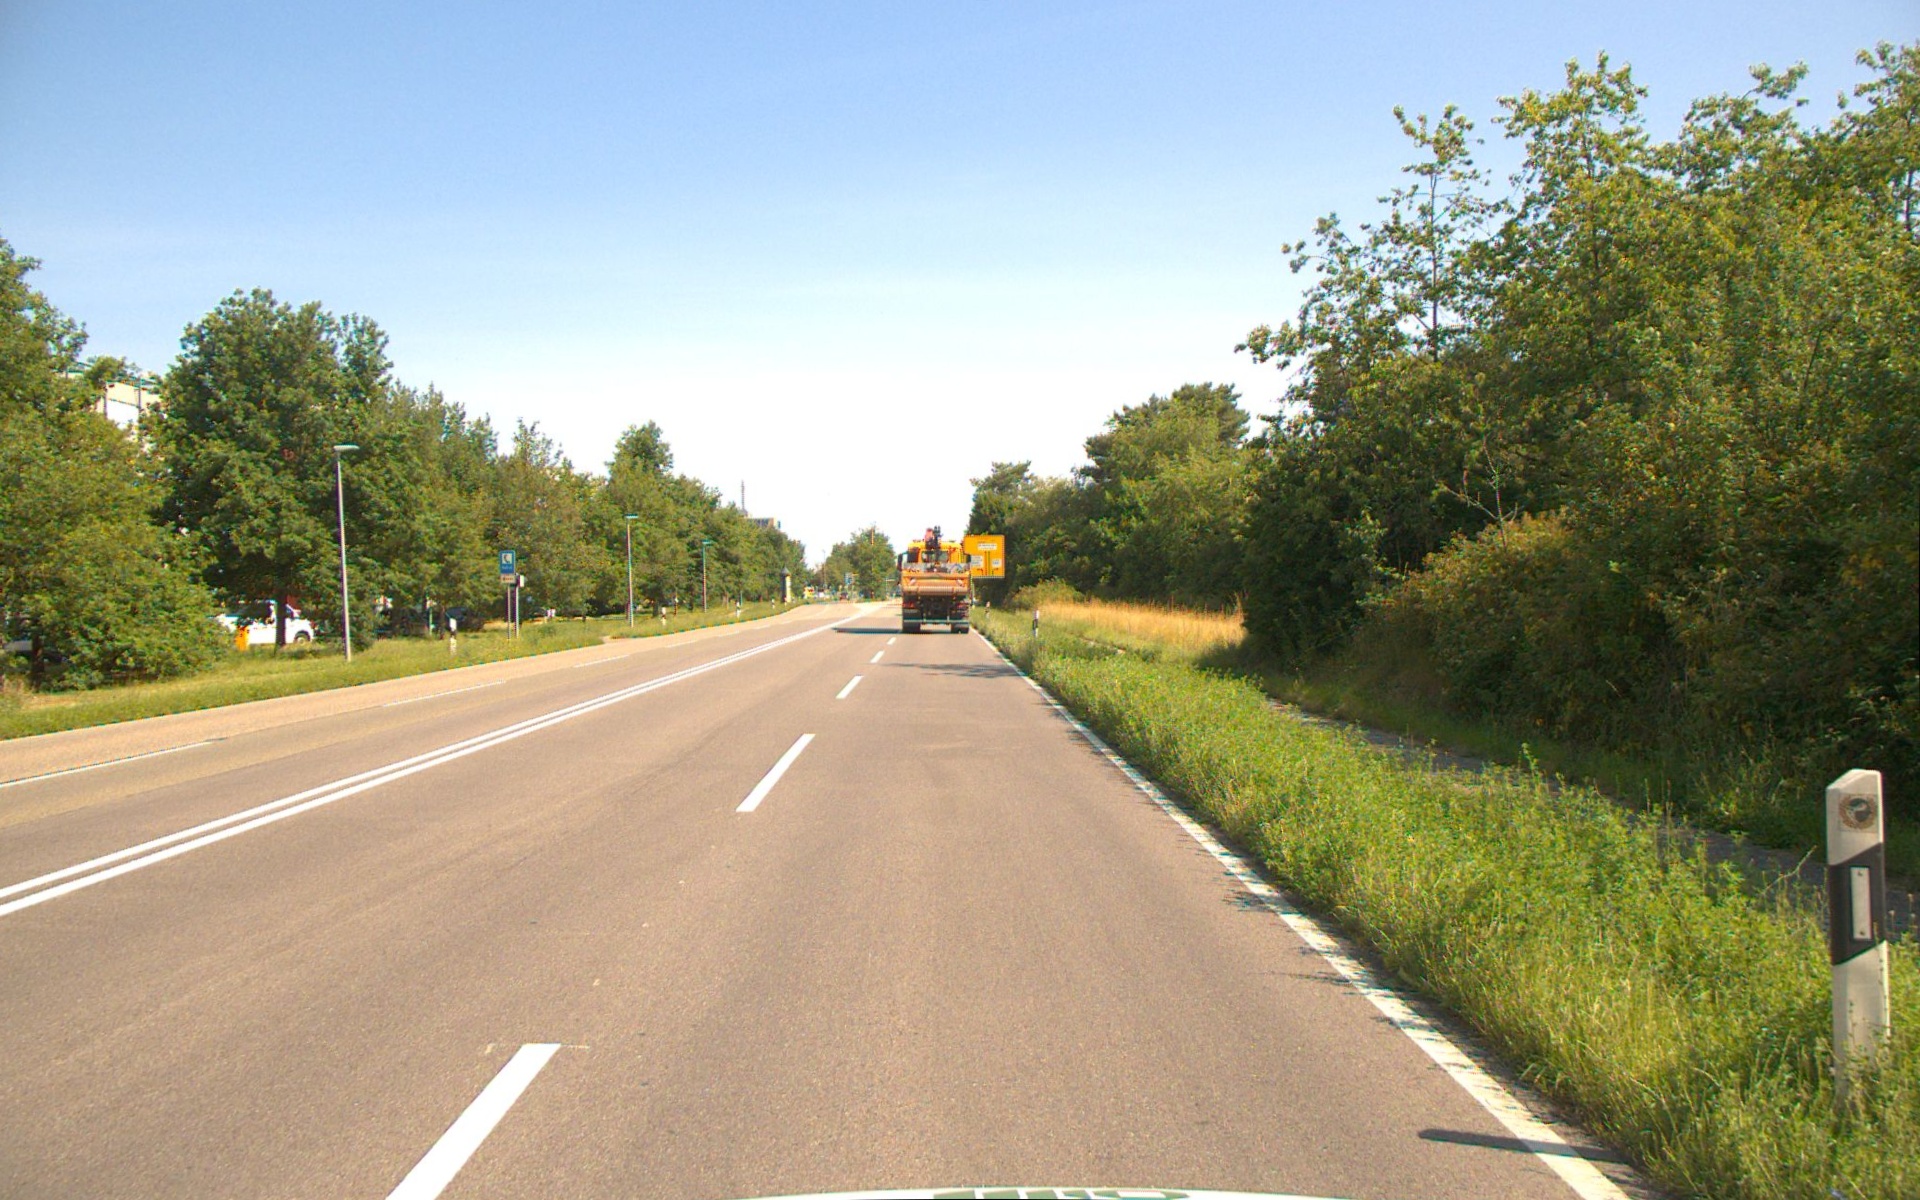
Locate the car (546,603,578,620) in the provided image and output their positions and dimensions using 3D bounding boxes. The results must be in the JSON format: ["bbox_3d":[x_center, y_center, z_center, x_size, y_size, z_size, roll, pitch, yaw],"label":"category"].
[{"bbox_3d":[-37.394,1.042,155.537,1.953,1.462,4.609,-1,0,-1],"label":"car"}]

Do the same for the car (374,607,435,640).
[{"bbox_3d":[-29.335,1.213,87.448,1.708,1.606,4.547,-1,0,-1],"label":"car"}]

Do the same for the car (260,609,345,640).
[{"bbox_3d":[-37.198,1.393,93.637,4.052,1.613,1.742,-1,0,-2],"label":"car"}]

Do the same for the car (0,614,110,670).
[{"bbox_3d":[-29.882,1.349,54.305,1.890,1.680,4.190,-1,0,-2],"label":"car"}]

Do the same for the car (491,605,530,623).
[{"bbox_3d":[-39.349,1.188,144.927,1.952,1.462,4.955,-1,0,0],"label":"car"}]

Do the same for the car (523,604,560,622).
[{"bbox_3d":[-36.810,1.121,145.587,1.952,1.462,4.955,-1,0,0],"label":"car"}]

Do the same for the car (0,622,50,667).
[{"bbox_3d":[-32.056,1.476,54.514,1.890,1.418,4.190,-1,0,-2],"label":"car"}]

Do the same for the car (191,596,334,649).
[{"bbox_3d":[-27.373,0.859,65.091,2.028,1.963,5.007,-1,0,29],"label":"car"}]

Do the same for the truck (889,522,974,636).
[{"bbox_3d":[-1.149,-0.752,61.780,2.815,3.948,7.395,1,0,-3],"label":"truck"}]
